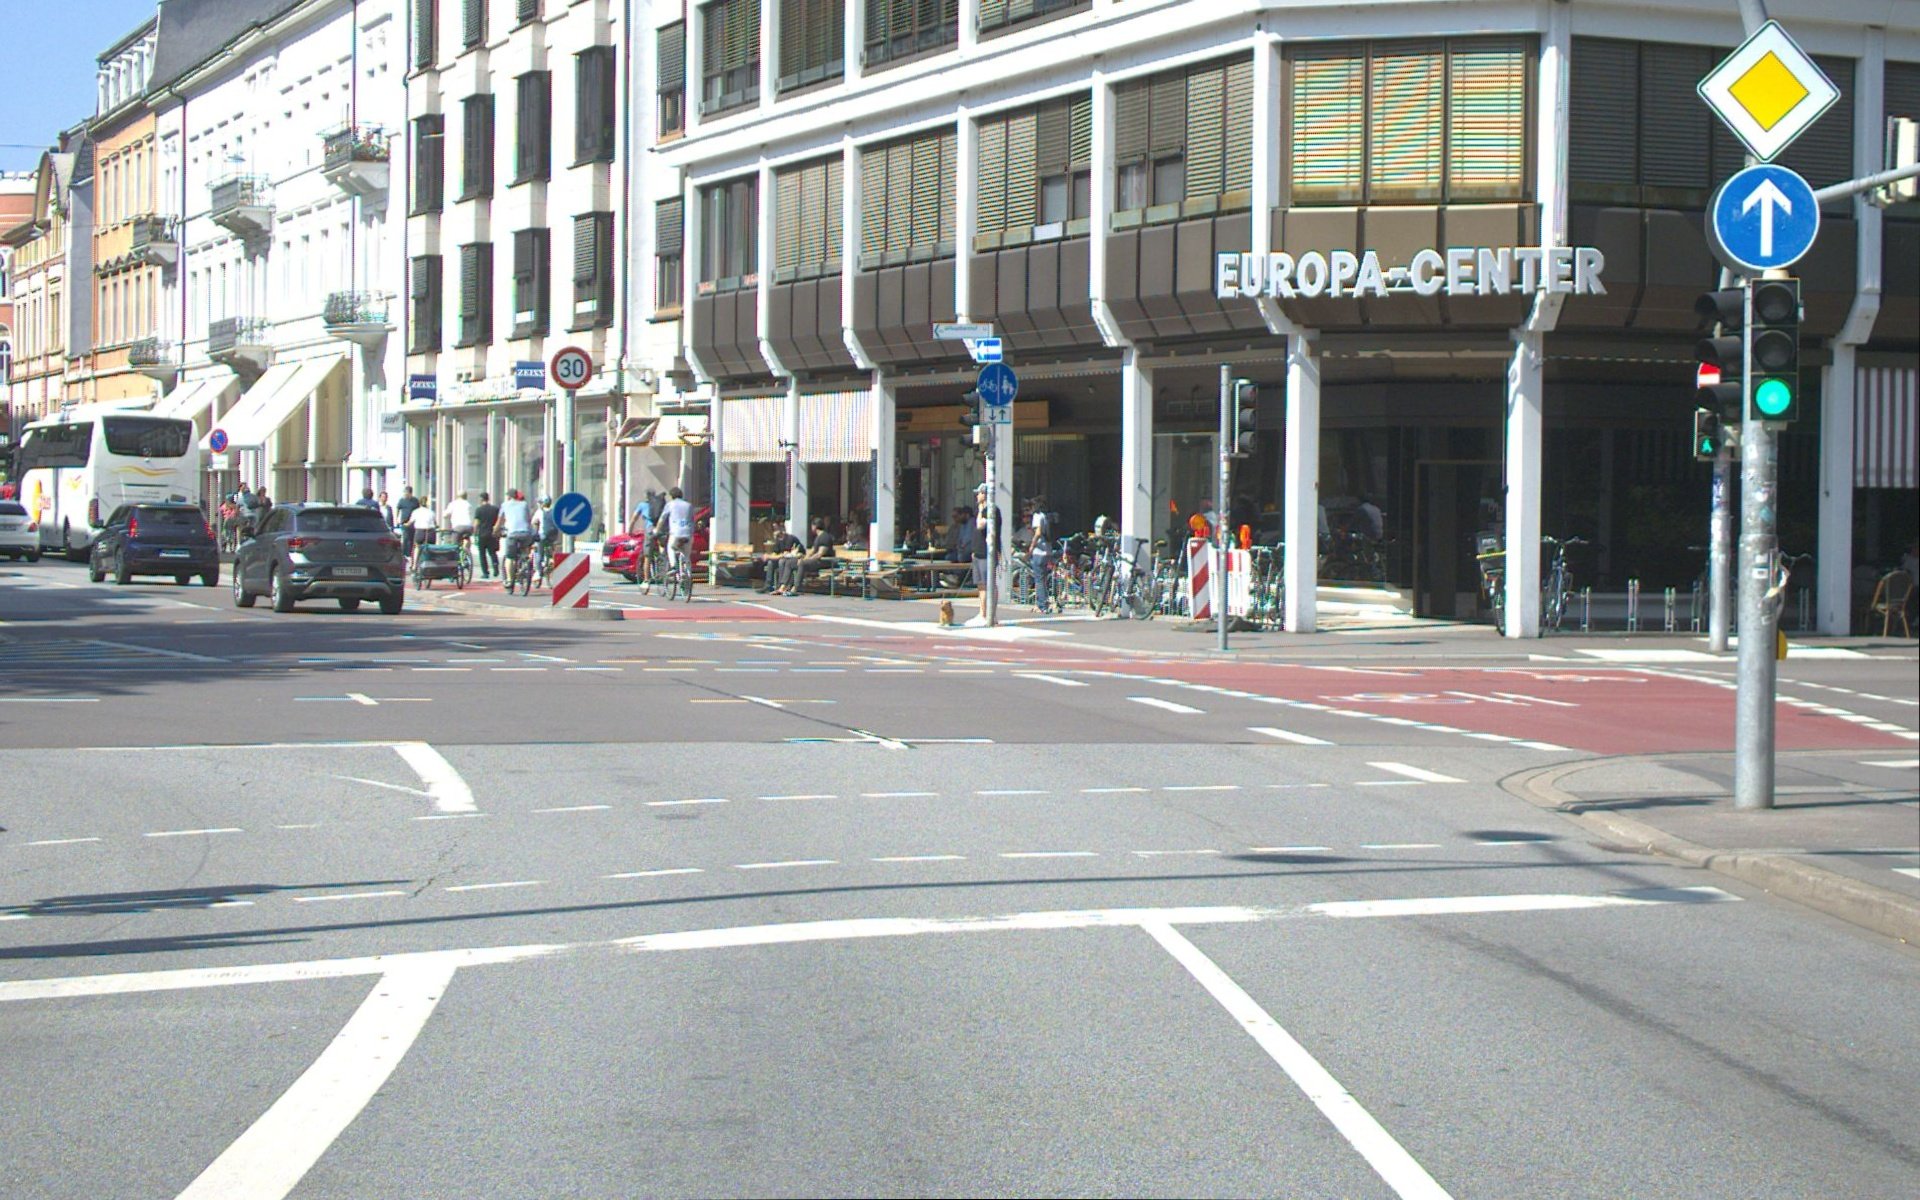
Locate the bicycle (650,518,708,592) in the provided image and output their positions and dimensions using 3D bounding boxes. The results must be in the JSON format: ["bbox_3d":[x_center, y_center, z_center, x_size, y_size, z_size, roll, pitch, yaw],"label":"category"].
[{"bbox_3d":[-4.422,-0.715,54.048,0.594,1.116,1.802,0,2,-15],"label":"bicycle"}]

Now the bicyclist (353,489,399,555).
[{"bbox_3d":[-12.310,-1.650,72.451,0.787,1.374,0.723,0,1,-24],"label":"bicyclist"}]

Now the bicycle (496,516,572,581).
[{"bbox_3d":[-7.403,-0.899,59.676,0.620,1.095,2.353,1,1,-24],"label":"bicycle"}]

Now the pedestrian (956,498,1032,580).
[{"bbox_3d":[0.562,-1.003,56.998,0.895,1.346,1.105,0,1,-24],"label":"pedestrian"}]

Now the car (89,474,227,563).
[{"bbox_3d":[-14.529,-1.460,62.143,1.832,1.522,4.001,-2,1,-21],"label":"car"}]

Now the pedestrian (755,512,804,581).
[{"bbox_3d":[-3.057,-0.901,58.197,0.711,1.169,0.697,0,0,-14],"label":"pedestrian"}]

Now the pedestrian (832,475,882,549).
[{"bbox_3d":[-1.905,-1.621,63.399,0.744,1.363,0.584,0,2,-24],"label":"pedestrian"}]

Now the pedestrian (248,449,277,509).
[{"bbox_3d":[-19.011,-3.301,93.671,0.645,1.611,0.822,0,1,-20],"label":"pedestrian"}]

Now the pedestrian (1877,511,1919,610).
[{"bbox_3d":[13.057,-0.538,46.819,0.828,1.330,0.970,2,2,31],"label":"pedestrian"}]

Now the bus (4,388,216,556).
[{"bbox_3d":[-21.126,-3.144,84.786,2.881,3.729,12.430,2,1,-24],"label":"bus"}]

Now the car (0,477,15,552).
[{"bbox_3d":[-19.956,-1.674,68.115,1.862,1.436,4.001,0,0,-23],"label":"car"}]

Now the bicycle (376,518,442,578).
[{"bbox_3d":[-10.458,-1.003,65.209,0.620,1.095,2.353,1,1,-24],"label":"bicycle"}]

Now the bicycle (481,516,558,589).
[{"bbox_3d":[-7.316,-0.797,57.030,0.664,1.116,2.244,2,2,-22],"label":"bicycle"}]

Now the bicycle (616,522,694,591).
[{"bbox_3d":[-5.072,-0.725,57.056,0.620,1.095,2.353,1,1,-22],"label":"bicycle"}]

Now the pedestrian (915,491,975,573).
[{"bbox_3d":[-0.260,-1.159,58.809,0.813,1.392,0.697,0,1,-25],"label":"pedestrian"}]

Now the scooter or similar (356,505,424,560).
[{"bbox_3d":[-11.764,-1.391,70.917,1.121,1.098,1.086,0,1,-24],"label":"scooter or similar"}]

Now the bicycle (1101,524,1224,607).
[{"bbox_3d":[2.845,-0.486,48.183,1.716,1.116,0.278,-1,2,-16],"label":"bicycle"}]

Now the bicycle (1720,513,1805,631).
[{"bbox_3d":[10.205,-0.374,43.668,0.530,1.417,1.964,2,3,29],"label":"bicycle"}]

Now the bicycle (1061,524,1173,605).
[{"bbox_3d":[2.239,-0.513,48.932,1.570,1.116,0.278,-1,2,-16],"label":"bicycle"}]

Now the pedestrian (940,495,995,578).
[{"bbox_3d":[0.128,-1.075,58.059,0.711,1.392,0.697,0,0,-24],"label":"pedestrian"}]

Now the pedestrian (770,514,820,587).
[{"bbox_3d":[-2.754,-0.827,57.395,0.711,1.212,0.697,0,0,-14],"label":"pedestrian"}]

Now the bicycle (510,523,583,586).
[{"bbox_3d":[-7.483,-0.825,62.187,0.620,1.095,2.353,1,1,-24],"label":"bicycle"}]

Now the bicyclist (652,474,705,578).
[{"bbox_3d":[-4.415,-1.161,53.828,0.694,1.620,0.836,0,2,-14],"label":"bicyclist"}]

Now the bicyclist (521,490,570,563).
[{"bbox_3d":[-7.503,-1.334,62.231,0.620,1.292,0.867,1,1,-24],"label":"bicyclist"}]

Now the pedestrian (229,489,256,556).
[{"bbox_3d":[-19.318,-2.090,92.523,0.573,1.772,1.020,-1,0,-20],"label":"pedestrian"}]

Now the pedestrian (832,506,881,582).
[{"bbox_3d":[-1.893,-1.025,62.834,0.760,1.363,0.478,0,2,-24],"label":"pedestrian"}]

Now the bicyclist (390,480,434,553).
[{"bbox_3d":[-10.389,-1.583,65.114,0.620,1.366,0.781,1,1,-24],"label":"bicyclist"}]

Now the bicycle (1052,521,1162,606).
[{"bbox_3d":[2.102,-0.522,49.274,1.545,1.202,0.278,0,2,-16],"label":"bicycle"}]

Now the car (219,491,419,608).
[{"bbox_3d":[-9.151,-0.723,48.883,1.832,1.522,4.001,2,0,-24],"label":"car"}]

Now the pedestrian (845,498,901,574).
[{"bbox_3d":[-1.584,-1.170,62.458,0.877,1.363,0.537,0,2,-24],"label":"pedestrian"}]

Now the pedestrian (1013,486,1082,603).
[{"bbox_3d":[1.251,-0.788,49.224,0.832,1.657,0.697,0,0,-14],"label":"pedestrian"}]

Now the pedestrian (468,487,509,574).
[{"bbox_3d":[-9.429,-1.393,68.748,0.620,1.714,0.836,1,1,-20],"label":"pedestrian"}]

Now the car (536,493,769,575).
[{"bbox_3d":[-5.834,-1.244,65.224,4.043,1.489,1.842,-1,0,-21],"label":"car"}]

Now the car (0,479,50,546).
[{"bbox_3d":[-22.416,-2.008,79.949,1.833,1.522,4.001,-2,1,-23],"label":"car"}]

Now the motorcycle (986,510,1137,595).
[{"bbox_3d":[1.558,-0.724,52.433,2.236,1.286,0.948,0,1,6],"label":"motorcycle"}]

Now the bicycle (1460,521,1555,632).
[{"bbox_3d":[6.859,-0.312,43.006,0.530,1.312,1.964,2,3,29],"label":"bicycle"}]

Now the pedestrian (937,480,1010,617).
[{"bbox_3d":[0.179,-0.695,46.175,0.832,1.829,0.697,0,1,-14],"label":"pedestrian"}]

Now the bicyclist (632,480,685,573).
[{"bbox_3d":[-4.999,-1.221,56.912,0.620,1.524,0.869,1,1,-22],"label":"bicyclist"}]

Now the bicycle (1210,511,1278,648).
[{"bbox_3d":[3.693,-0.276,44.648,0.376,1.058,1.475,0,42,22],"label":"bicycle"}]

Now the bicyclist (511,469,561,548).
[{"bbox_3d":[-7.355,-1.592,59.582,0.620,1.350,0.847,1,1,-24],"label":"bicyclist"}]

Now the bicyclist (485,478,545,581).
[{"bbox_3d":[-7.418,-1.179,57.296,0.694,1.667,0.916,2,2,-22],"label":"bicyclist"}]

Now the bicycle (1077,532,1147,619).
[{"bbox_3d":[2.071,-0.352,47.035,0.276,1.116,2.244,0,2,-15],"label":"bicycle"}]

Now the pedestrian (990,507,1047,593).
[{"bbox_3d":[0.951,-0.816,56.121,0.711,1.392,0.697,0,0,-24],"label":"pedestrian"}]

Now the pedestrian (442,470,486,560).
[{"bbox_3d":[-9.559,-1.638,66.226,0.620,1.714,0.835,1,0,-22],"label":"pedestrian"}]

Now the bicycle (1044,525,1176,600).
[{"bbox_3d":[2.223,-0.556,50.714,2.236,1.093,0.277,0,2,-36],"label":"bicycle"}]

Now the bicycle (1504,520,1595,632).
[{"bbox_3d":[7.348,-0.312,42.804,0.530,1.312,1.856,2,3,29],"label":"bicycle"}]

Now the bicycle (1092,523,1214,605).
[{"bbox_3d":[2.731,-0.512,48.563,1.716,1.116,0.278,-1,2,-16],"label":"bicycle"}]

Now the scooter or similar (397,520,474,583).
[{"bbox_3d":[-9.681,-0.897,63.401,0.961,1.131,1.586,0,1,-26],"label":"scooter or similar"}]

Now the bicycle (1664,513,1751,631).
[{"bbox_3d":[9.485,-0.371,43.590,0.530,1.417,1.964,2,3,29],"label":"bicycle"}]

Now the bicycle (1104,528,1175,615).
[{"bbox_3d":[2.450,-0.401,47.173,0.276,1.116,2.244,0,2,-15],"label":"bicycle"}]
